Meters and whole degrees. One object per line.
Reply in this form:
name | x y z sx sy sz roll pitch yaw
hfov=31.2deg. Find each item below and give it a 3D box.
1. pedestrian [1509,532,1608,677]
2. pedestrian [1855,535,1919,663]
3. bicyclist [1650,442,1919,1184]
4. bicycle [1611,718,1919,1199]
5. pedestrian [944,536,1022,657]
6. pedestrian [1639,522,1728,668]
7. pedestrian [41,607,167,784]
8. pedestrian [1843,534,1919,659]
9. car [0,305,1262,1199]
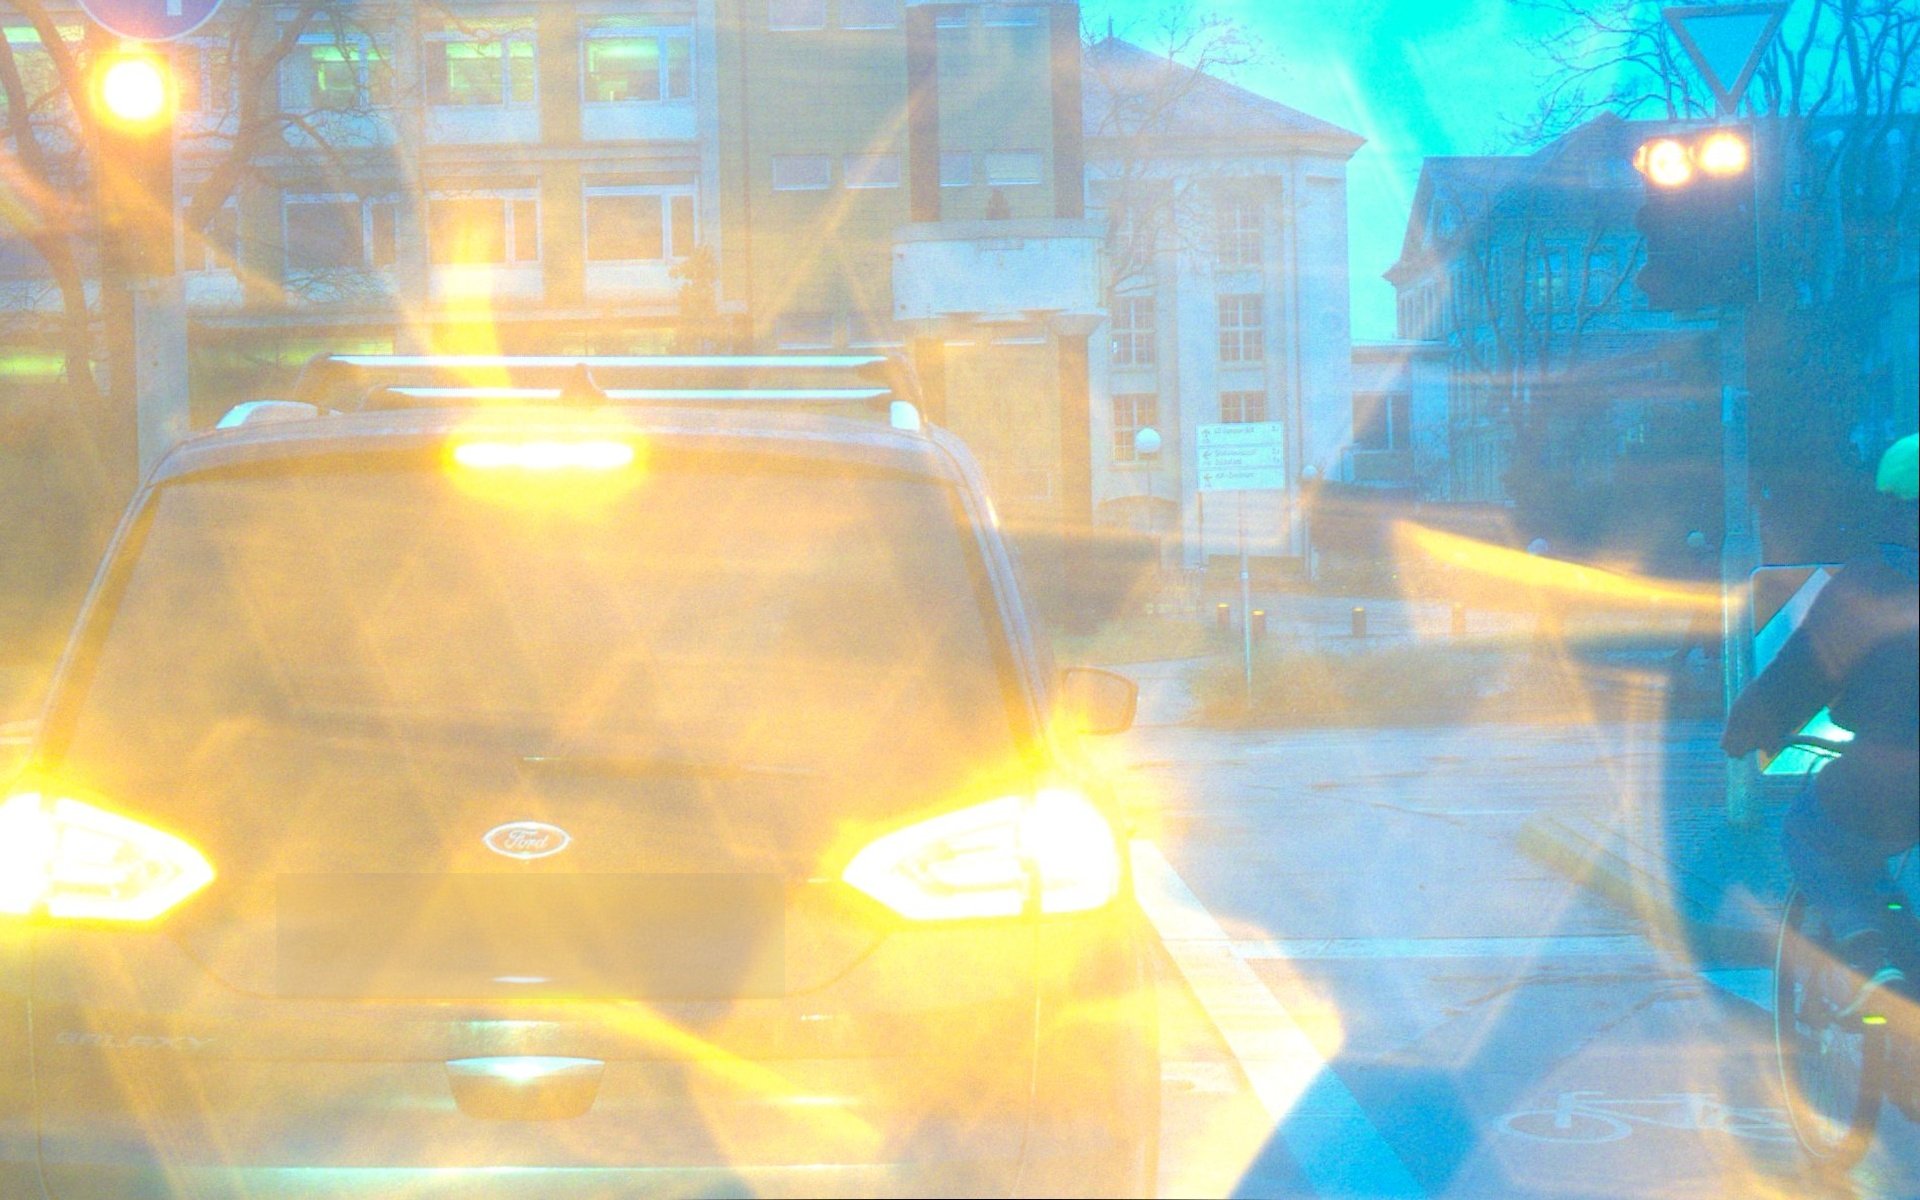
pedestrian | 7.400 0.048 42.505 1.136 1.714 0.981 -2 1 10
pedestrian | 11.579 -0.025 42.256 0.925 1.527 1.042 -2 1 6
bicyclist | 1.986 0.414 7.292 0.783 1.448 1.134 1 0 -1
bicycle | 1.995 0.839 7.385 0.783 1.071 1.957 1 1 -1
pedestrian | 0.317 -0.057 47.297 0.759 1.622 0.721 -3 1 -28
pedestrian | 9.188 -0.070 43.678 0.997 1.793 0.919 -2 1 9
pedestrian | -9.883 1.099 39.704 0.929 1.971 0.958 -1 2 31
pedestrian | 11.690 -0.055 43.353 0.893 1.527 0.886 -2 1 5
car | -0.631 0.489 6.565 1.993 1.783 4.000 1 1 -1
